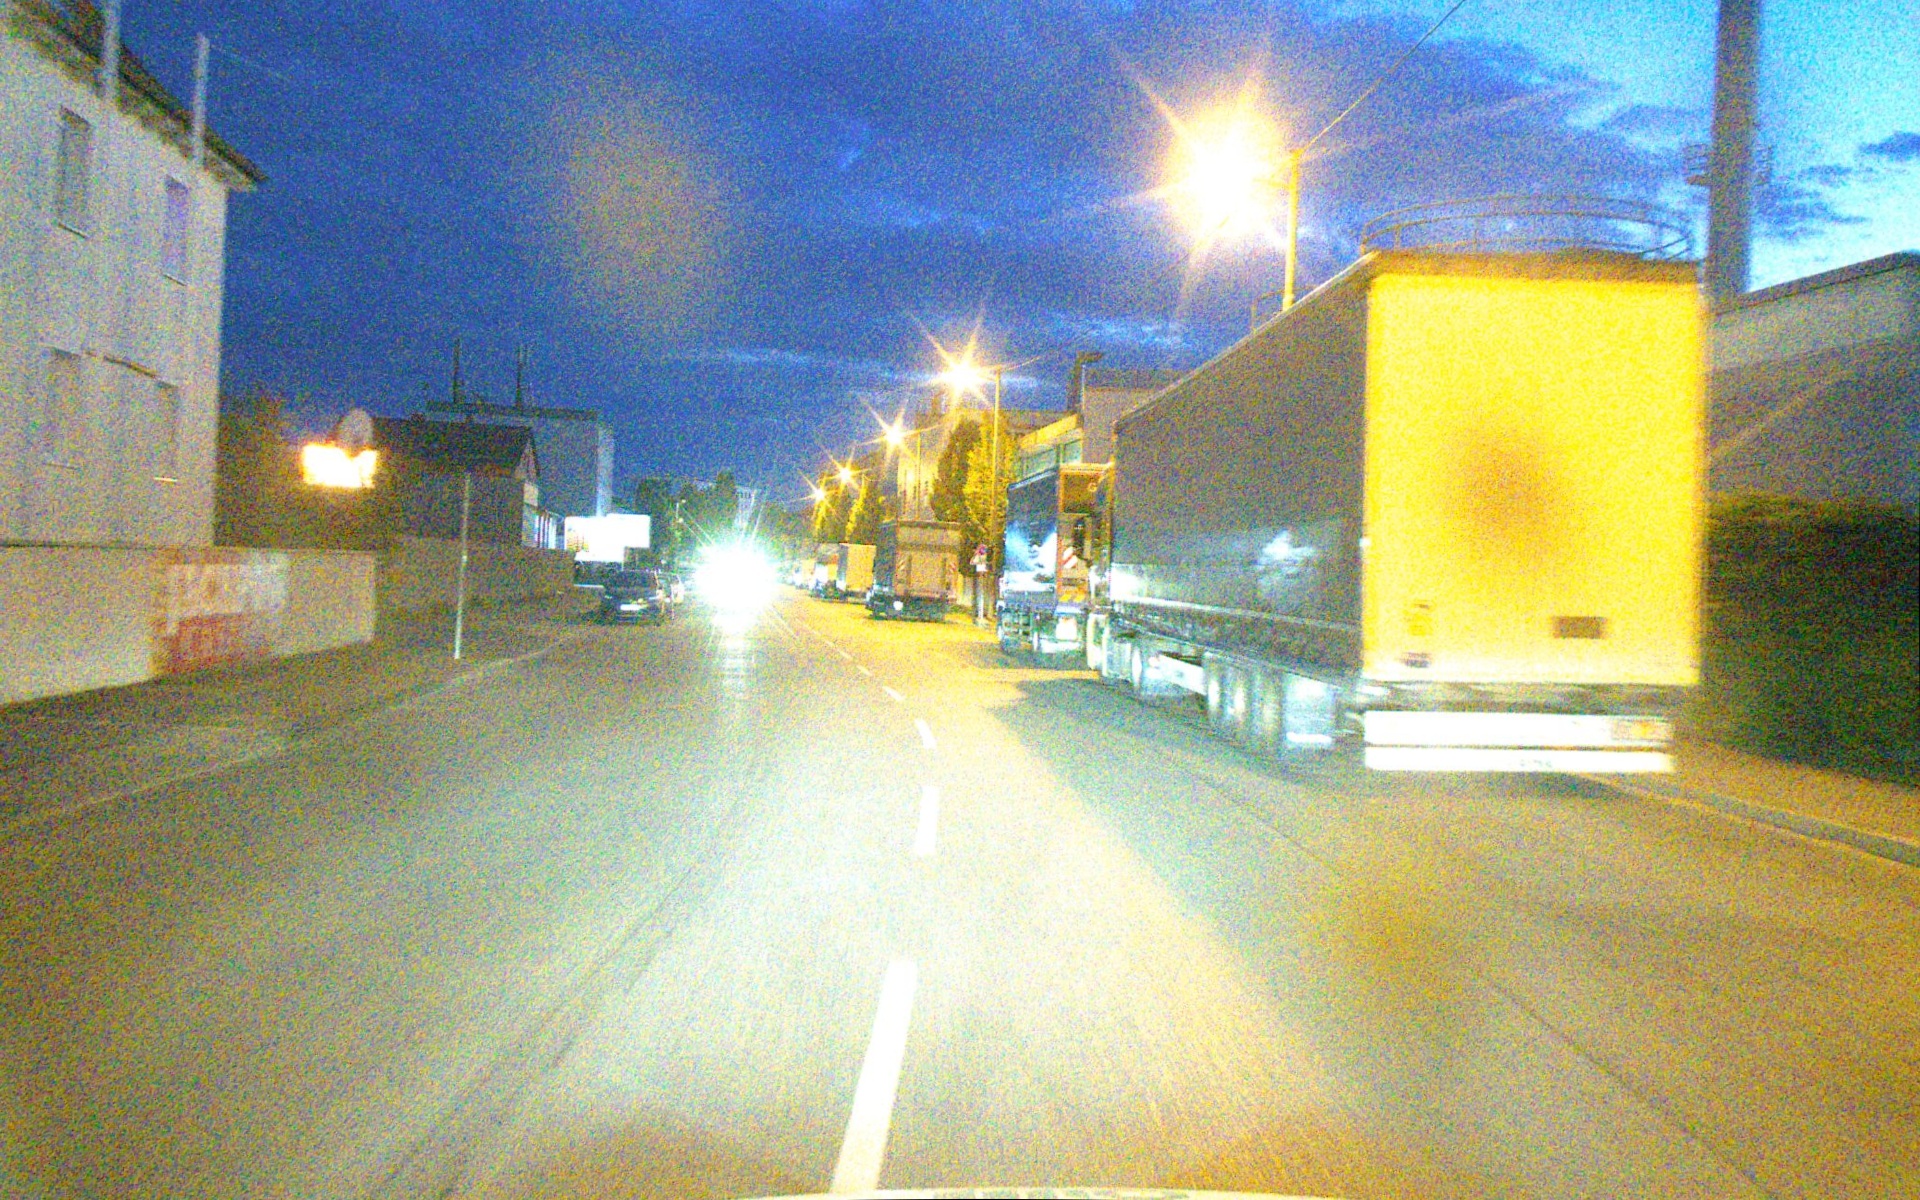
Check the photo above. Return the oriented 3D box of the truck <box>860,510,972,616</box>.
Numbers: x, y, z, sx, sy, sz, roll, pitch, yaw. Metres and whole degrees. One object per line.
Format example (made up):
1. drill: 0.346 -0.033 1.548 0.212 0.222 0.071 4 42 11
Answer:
1. truck: -2.014 -1.474 69.459 3.455 4.053 10.322 1 0 -8

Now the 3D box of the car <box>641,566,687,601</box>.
1. car: -13.214 -0.769 74.024 1.807 1.445 3.993 2 1 -8

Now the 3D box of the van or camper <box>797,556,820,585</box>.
1. van or camper: -14.140 -2.745 154.154 1.956 2.626 4.907 2 1 -7

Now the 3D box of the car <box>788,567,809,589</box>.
1. car: -17.065 -2.303 174.314 1.956 2.183 3.993 2 1 -8

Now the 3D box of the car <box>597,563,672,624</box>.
1. car: -9.828 -0.207 50.250 1.957 1.665 4.764 3 0 -9

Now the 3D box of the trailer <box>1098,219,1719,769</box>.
1. trailer: 3.953 -0.825 19.334 2.753 4.053 13.966 1 0 -3

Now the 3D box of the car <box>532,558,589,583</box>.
1. car: -29.319 -2.155 121.541 3.915 1.680 1.995 2 0 -11

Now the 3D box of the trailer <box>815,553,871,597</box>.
1. trailer: -8.129 -1.695 113.629 3.124 2.797 10.697 1 0 -8

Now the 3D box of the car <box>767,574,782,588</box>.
1. car: -25.131 -2.588 223.947 1.956 1.713 3.993 2 1 -8

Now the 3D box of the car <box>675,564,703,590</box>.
1. car: -20.582 -1.769 125.681 1.956 1.825 3.993 2 1 -8

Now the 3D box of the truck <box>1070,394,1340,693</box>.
1. truck: 3.578 -0.786 25.738 2.775 4.053 6.044 1 0 -5

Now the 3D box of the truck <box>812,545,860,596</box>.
1. truck: -9.081 -2.122 120.693 3.092 3.524 6.662 1 0 -8

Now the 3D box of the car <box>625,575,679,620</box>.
1. car: -10.279 -0.102 55.407 1.572 1.377 3.993 3 1 -8

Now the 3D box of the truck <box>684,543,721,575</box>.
1. truck: -31.520 -4.985 202.011 3.823 3.684 8.233 2 1 -13

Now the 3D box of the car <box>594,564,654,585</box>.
1. car: -28.708 -2.172 141.284 4.565 1.511 1.980 2 1 -31

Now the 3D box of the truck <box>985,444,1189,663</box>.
1. truck: 2.473 -0.889 36.162 2.775 4.053 10.332 1 0 -5

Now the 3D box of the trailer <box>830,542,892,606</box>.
1. trailer: -5.885 -1.509 97.282 2.638 3.524 7.790 3 0 -10

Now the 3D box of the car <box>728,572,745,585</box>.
1. car: -26.705 -2.557 197.748 1.956 1.422 3.993 2 1 -8
